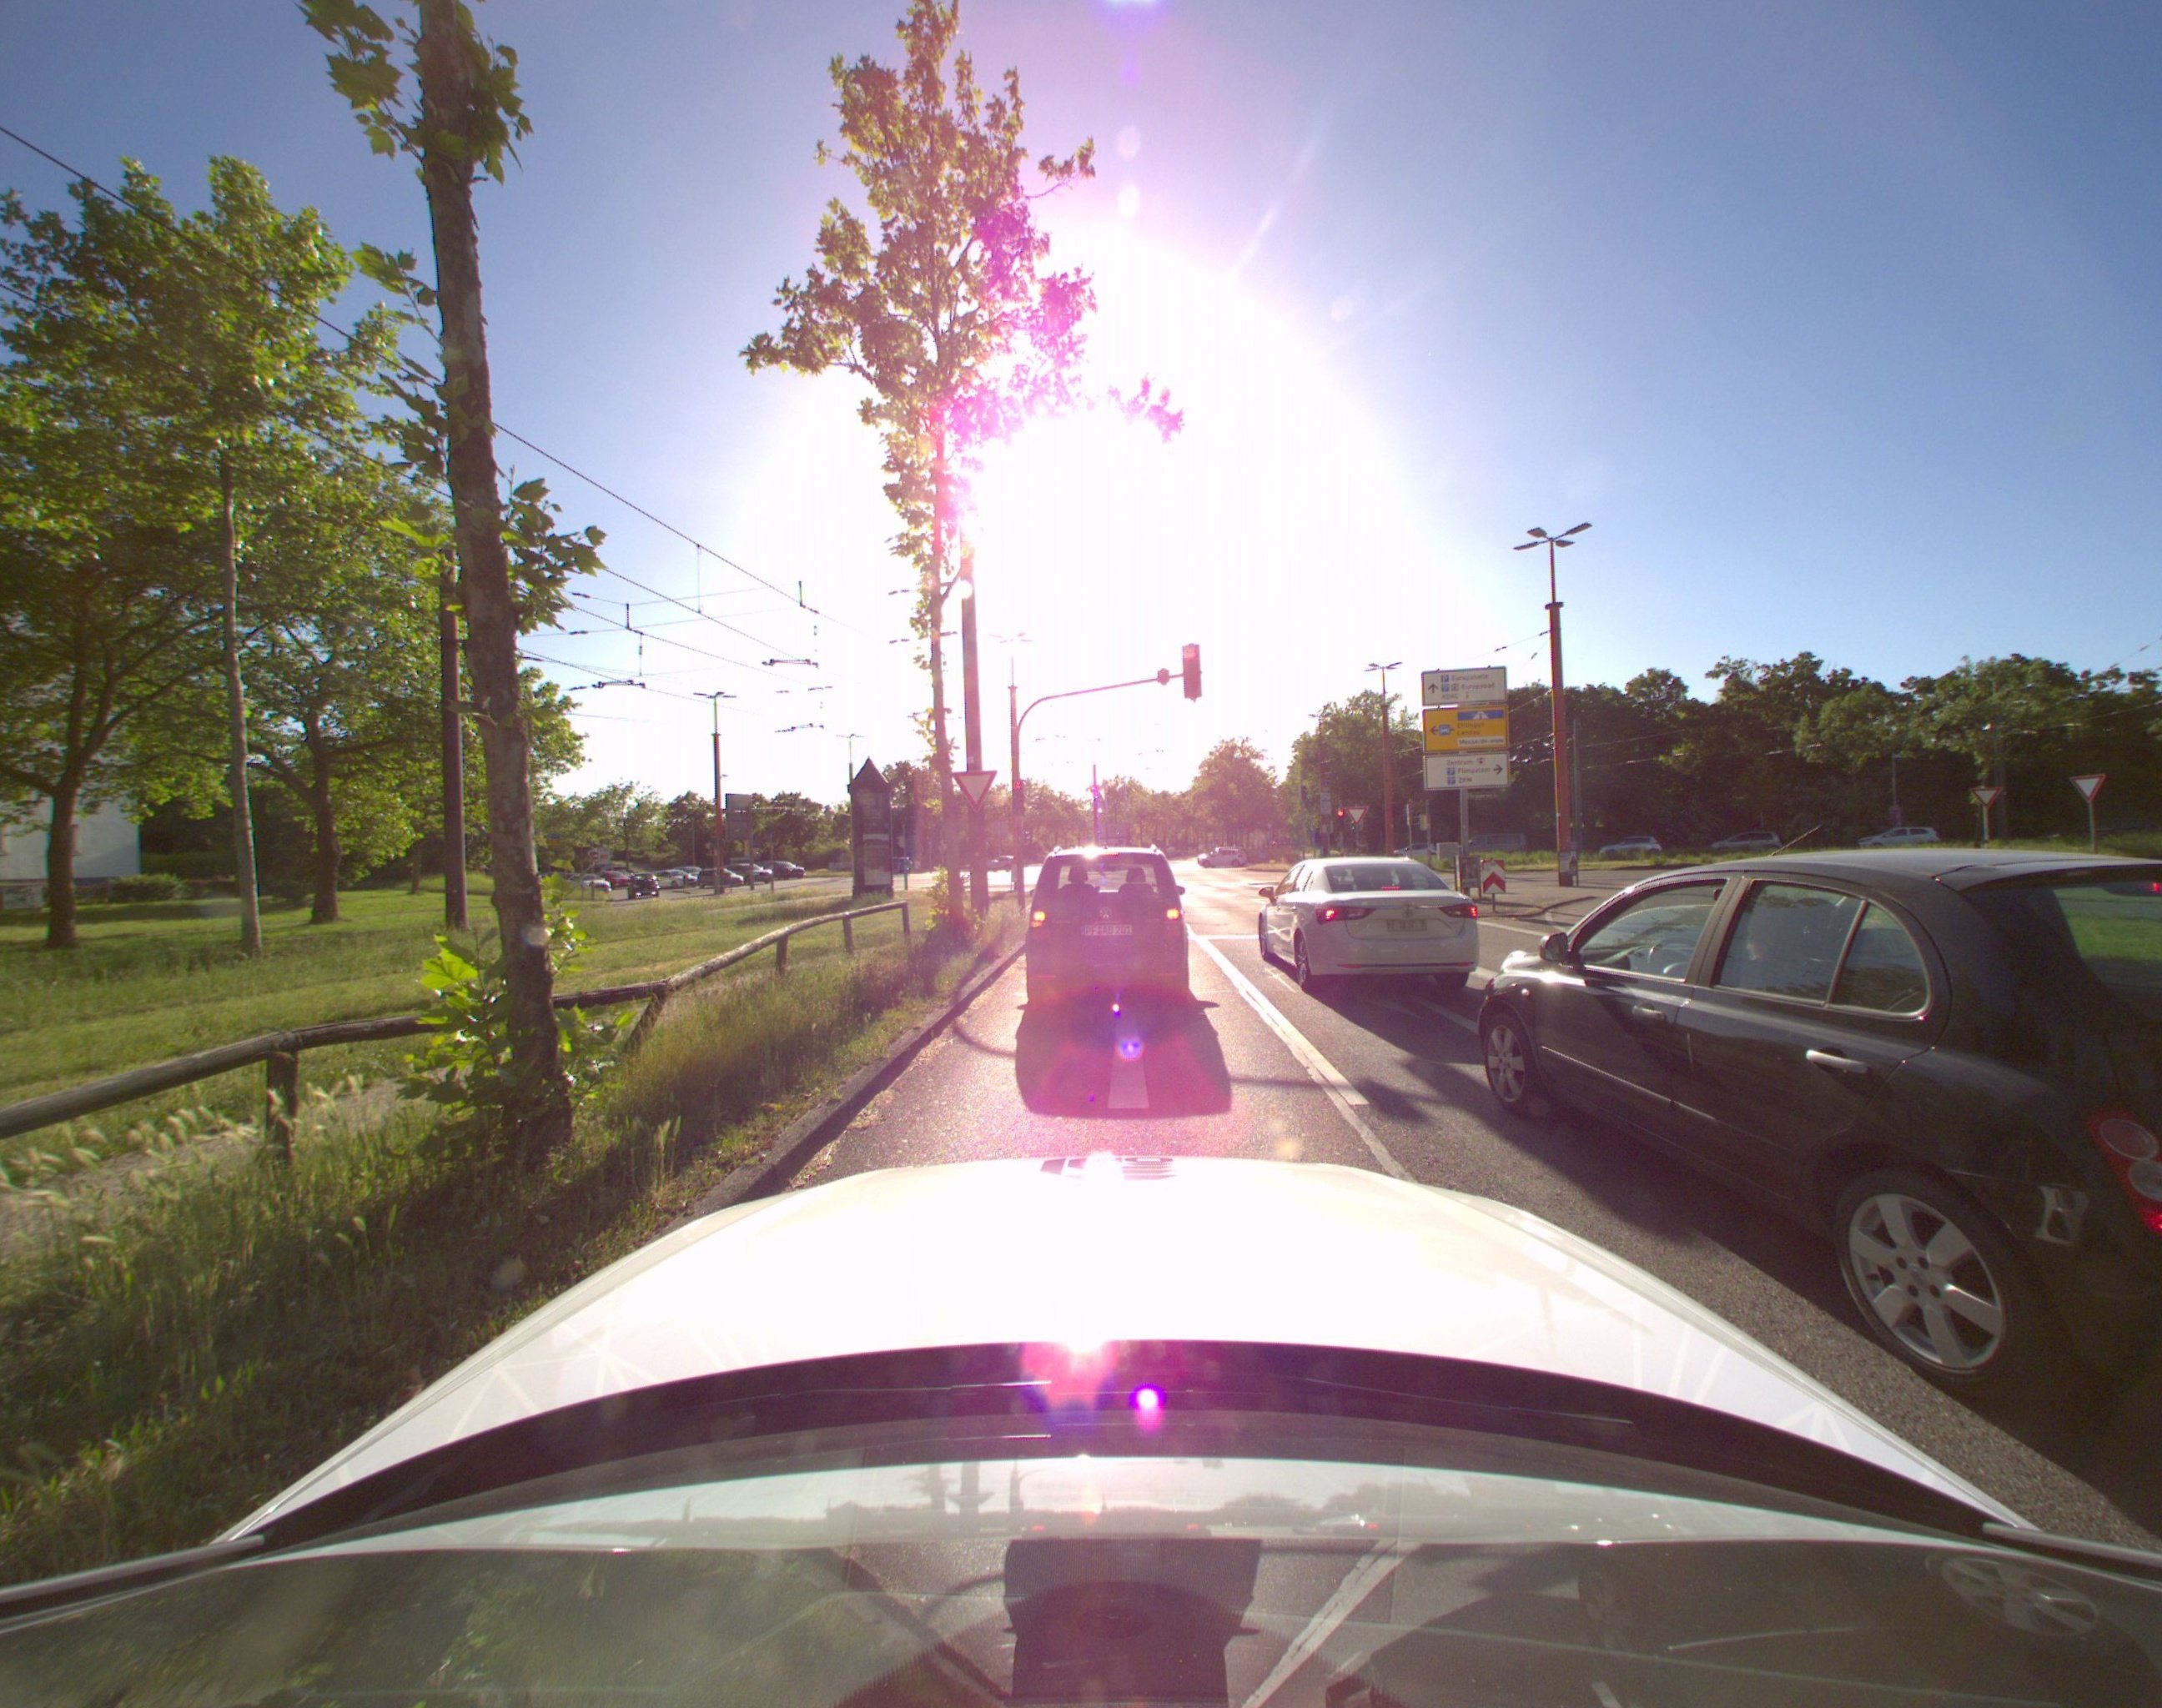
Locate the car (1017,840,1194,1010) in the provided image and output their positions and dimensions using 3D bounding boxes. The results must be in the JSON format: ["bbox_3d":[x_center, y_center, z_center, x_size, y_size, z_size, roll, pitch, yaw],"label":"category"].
[{"bbox_3d":[0.292,0.698,9.928,1.694,1.621,3.898,-1,0,1],"label":"car"}]

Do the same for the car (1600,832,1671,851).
[{"bbox_3d":[37.514,-0.833,55.209,3.792,1.264,1.613,0,-1,28],"label":"car"}]

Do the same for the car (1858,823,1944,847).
[{"bbox_3d":[49.059,-1.117,48.778,3.403,1.368,1.298,0,-1,29],"label":"car"}]

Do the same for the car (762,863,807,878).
[{"bbox_3d":[-26.531,1.477,72.844,3.948,1.330,1.709,-2,0,33],"label":"car"}]

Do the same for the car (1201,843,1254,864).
[{"bbox_3d":[12.592,-0.054,70.096,4.081,1.644,1.863,-2,0,26],"label":"car"}]

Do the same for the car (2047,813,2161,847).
[{"bbox_3d":[52.937,-1.238,41.716,3.987,1.596,2.012,-2,0,25],"label":"car"}]

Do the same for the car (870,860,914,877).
[{"bbox_3d":[-19.093,1.472,82.279,4.139,1.644,1.770,0,-1,28],"label":"car"}]

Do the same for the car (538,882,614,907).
[{"bbox_3d":[-38.184,3.062,61.608,4.797,1.731,2.006,-1,0,11],"label":"car"}]

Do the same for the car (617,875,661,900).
[{"bbox_3d":[-27.175,2.019,50.189,1.802,1.390,2.833,-1,0,-17],"label":"car"}]

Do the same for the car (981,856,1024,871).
[{"bbox_3d":[-7.741,0.903,80.020,3.927,1.441,1.696,0,-1,26],"label":"car"}]

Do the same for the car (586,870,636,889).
[{"bbox_3d":[-39.363,2.147,68.217,3.949,1.513,1.743,-2,0,27],"label":"car"}]

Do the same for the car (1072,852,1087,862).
[{"bbox_3d":[-0.258,0.489,136.125,1.904,1.635,4.010,0,0,9],"label":"car"}]

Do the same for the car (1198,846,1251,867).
[{"bbox_3d":[11.617,0.212,65.925,3.783,1.523,1.705,-2,0,27],"label":"car"}]

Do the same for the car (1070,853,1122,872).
[{"bbox_3d":[1.317,0.754,71.378,4.080,1.598,1.840,-2,0,29],"label":"car"}]

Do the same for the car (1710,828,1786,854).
[{"bbox_3d":[40.659,-0.756,49.711,3.362,1.457,1.474,-2,0,28],"label":"car"}]

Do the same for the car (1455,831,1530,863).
[{"bbox_3d":[28.659,-0.474,56.726,4.526,2.013,2.013,-2,0,30],"label":"car"}]

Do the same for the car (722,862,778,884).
[{"bbox_3d":[-26.562,1.540,65.399,3.950,1.644,2.012,-2,0,26],"label":"car"}]

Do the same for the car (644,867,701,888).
[{"bbox_3d":[-32.424,1.871,64.657,4.135,1.612,1.880,-2,0,27],"label":"car"}]

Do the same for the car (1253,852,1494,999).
[{"bbox_3d":[3.323,0.710,10.138,1.713,1.438,4.202,-1,0,3],"label":"car"}]

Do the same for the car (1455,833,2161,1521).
[{"bbox_3d":[3.229,0.697,3.566,1.647,1.500,3.617,-1,0,2],"label":"car"}]

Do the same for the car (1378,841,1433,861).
[{"bbox_3d":[24.873,-0.236,62.387,3.700,1.473,1.610,-2,0,28],"label":"car"}]
